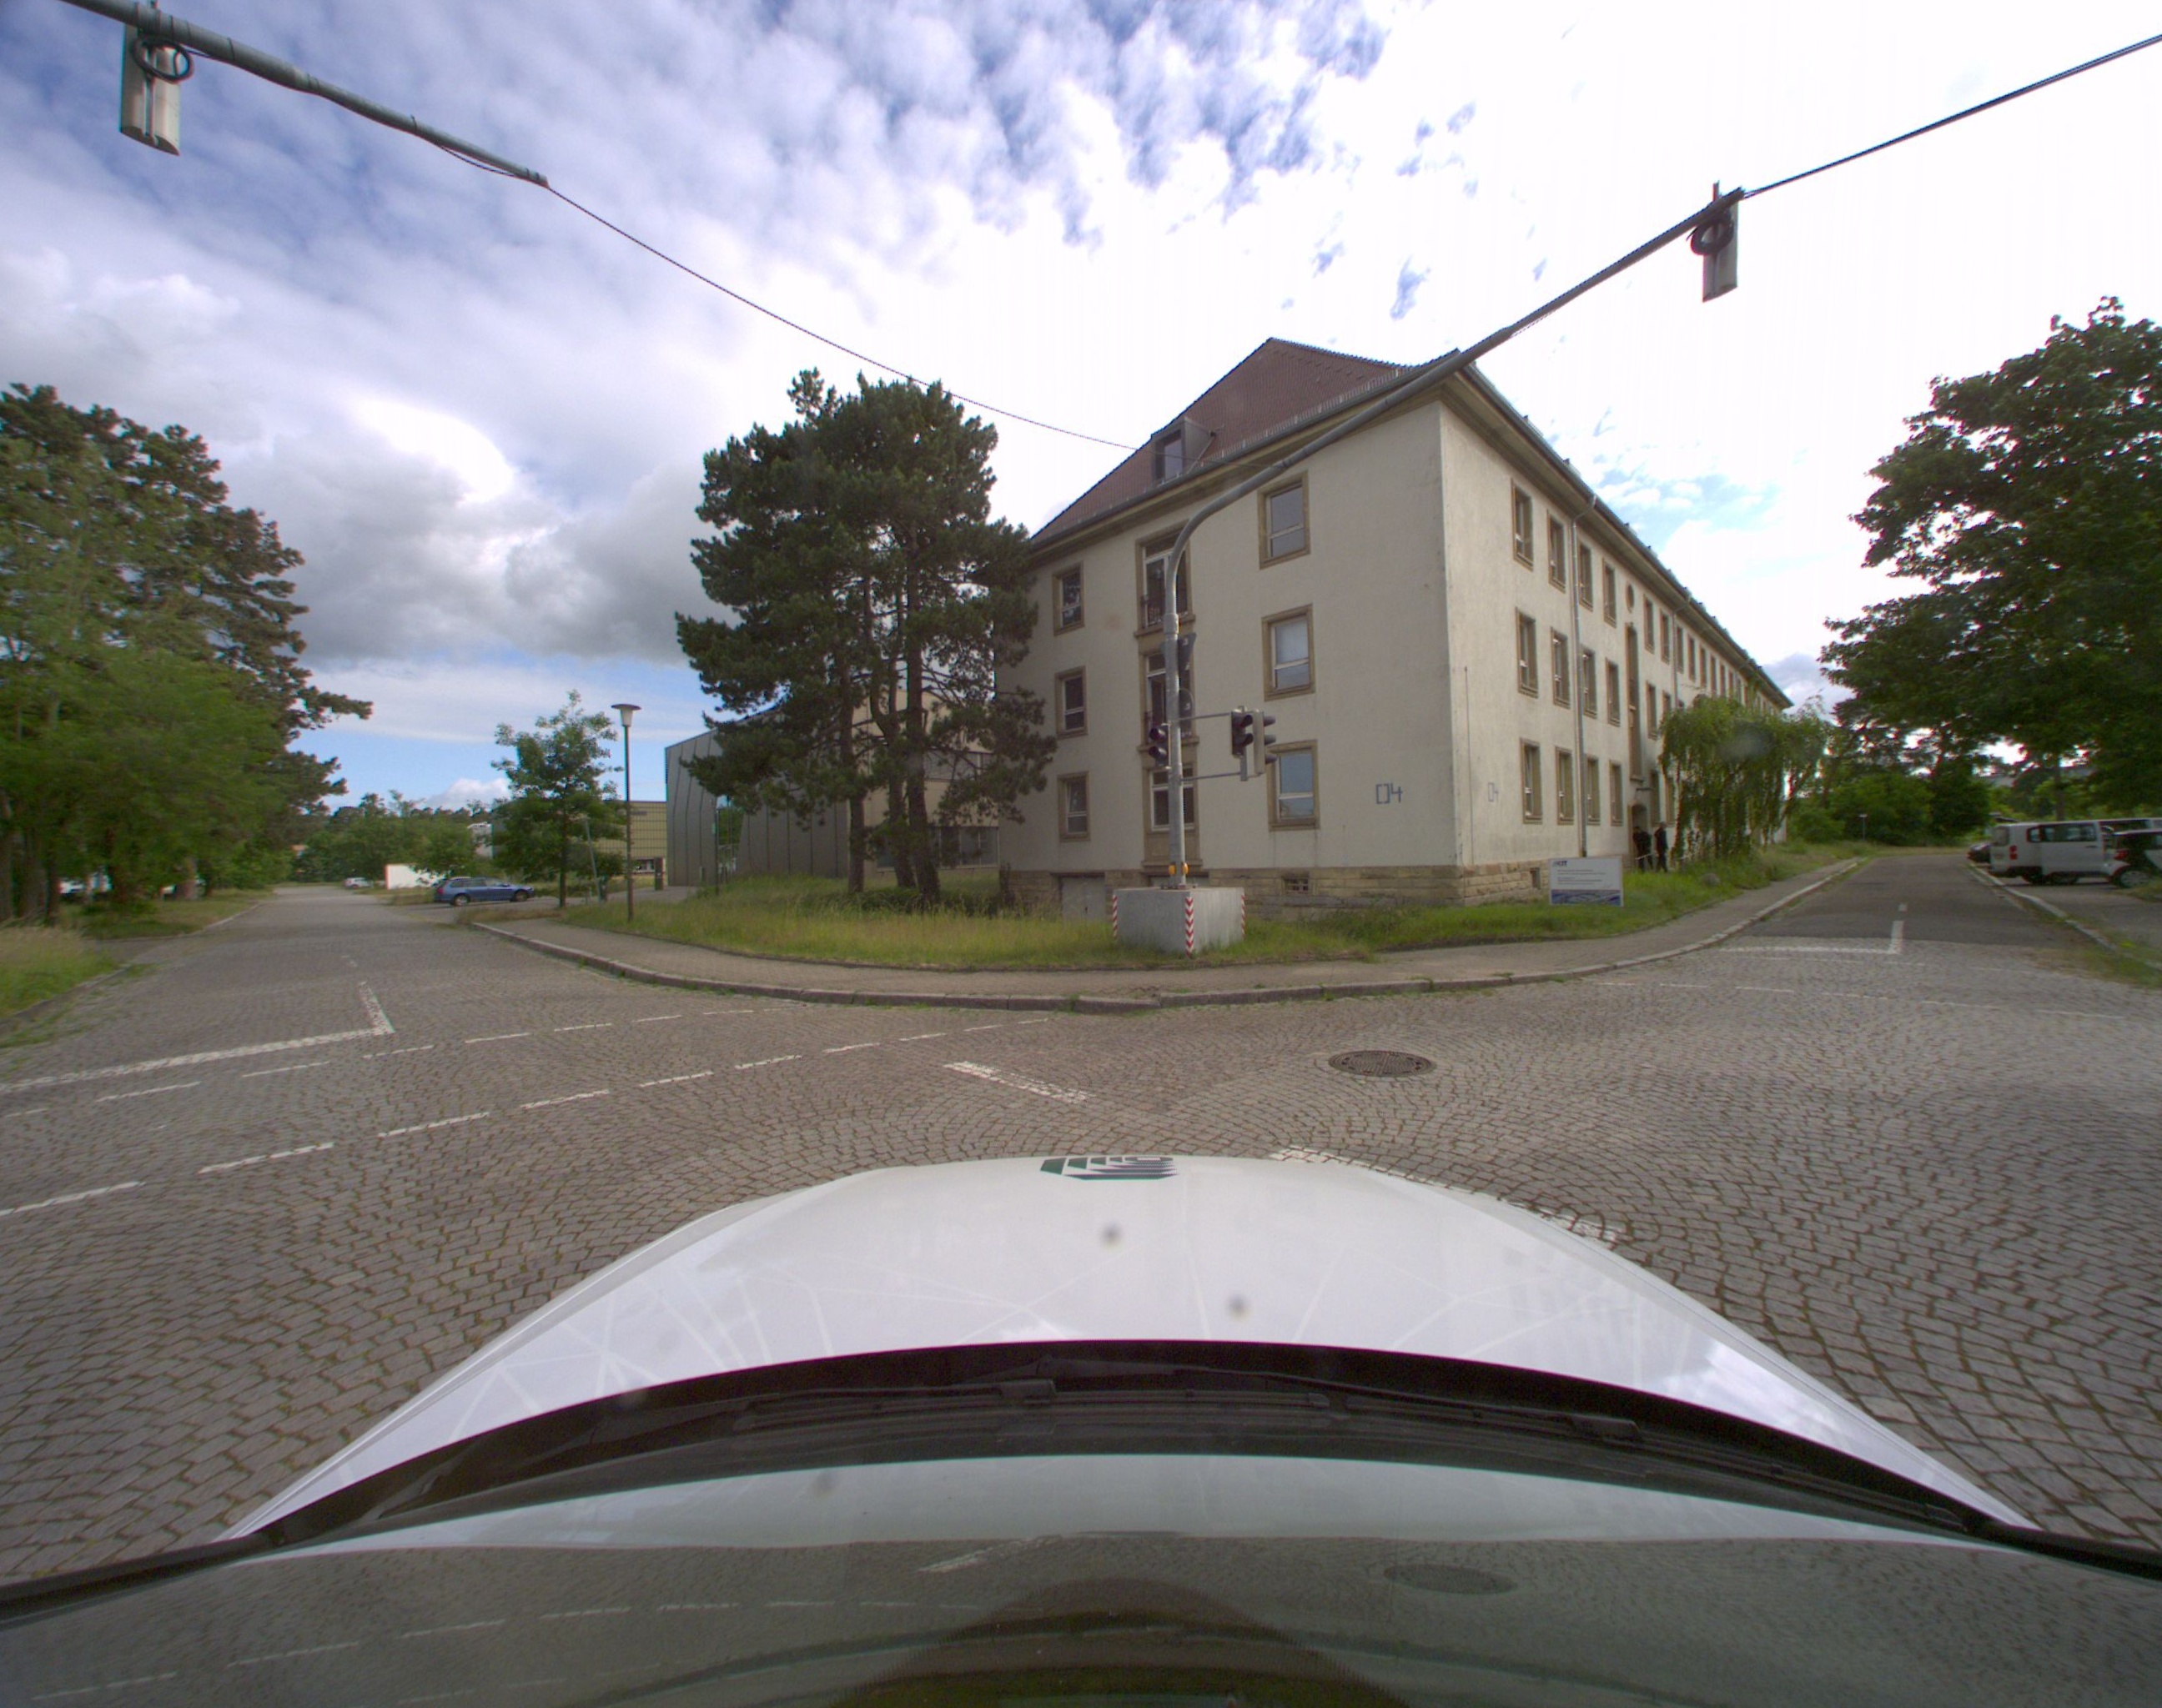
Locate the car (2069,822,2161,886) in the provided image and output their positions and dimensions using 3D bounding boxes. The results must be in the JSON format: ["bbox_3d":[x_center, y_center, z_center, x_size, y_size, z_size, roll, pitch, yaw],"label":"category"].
[{"bbox_3d":[28.254,-0.025,21.108,1.949,1.620,3.195,-1,1,-45],"label":"car"}]

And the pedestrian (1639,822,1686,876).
[{"bbox_3d":[20.687,-0.187,28.970,1.183,1.870,1.559,0,0,42],"label":"pedestrian"}]

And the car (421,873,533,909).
[{"bbox_3d":[-32.649,1.962,44.125,1.975,1.531,4.561,-2,1,43],"label":"car"}]

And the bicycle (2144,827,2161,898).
[{"bbox_3d":[22.149,0.126,15.279,0.956,1.372,2.544,-1,0,-45],"label":"bicycle"}]

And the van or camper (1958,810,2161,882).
[{"bbox_3d":[30.074,-0.233,23.767,5.685,1.957,2.252,-2,0,34],"label":"van or camper"}]

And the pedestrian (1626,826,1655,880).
[{"bbox_3d":[20.477,-0.044,29.812,0.857,1.932,0.842,0,1,35],"label":"pedestrian"}]

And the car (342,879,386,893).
[{"bbox_3d":[-97.112,4.359,110.281,4.394,1.687,1.901,-2,0,-45],"label":"car"}]

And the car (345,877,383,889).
[{"bbox_3d":[-110.792,4.466,125.898,4.393,1.780,1.902,-2,0,-43],"label":"car"}]

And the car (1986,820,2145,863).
[{"bbox_3d":[40.221,-0.490,33.431,3.950,1.600,1.714,-2,0,44],"label":"car"}]
